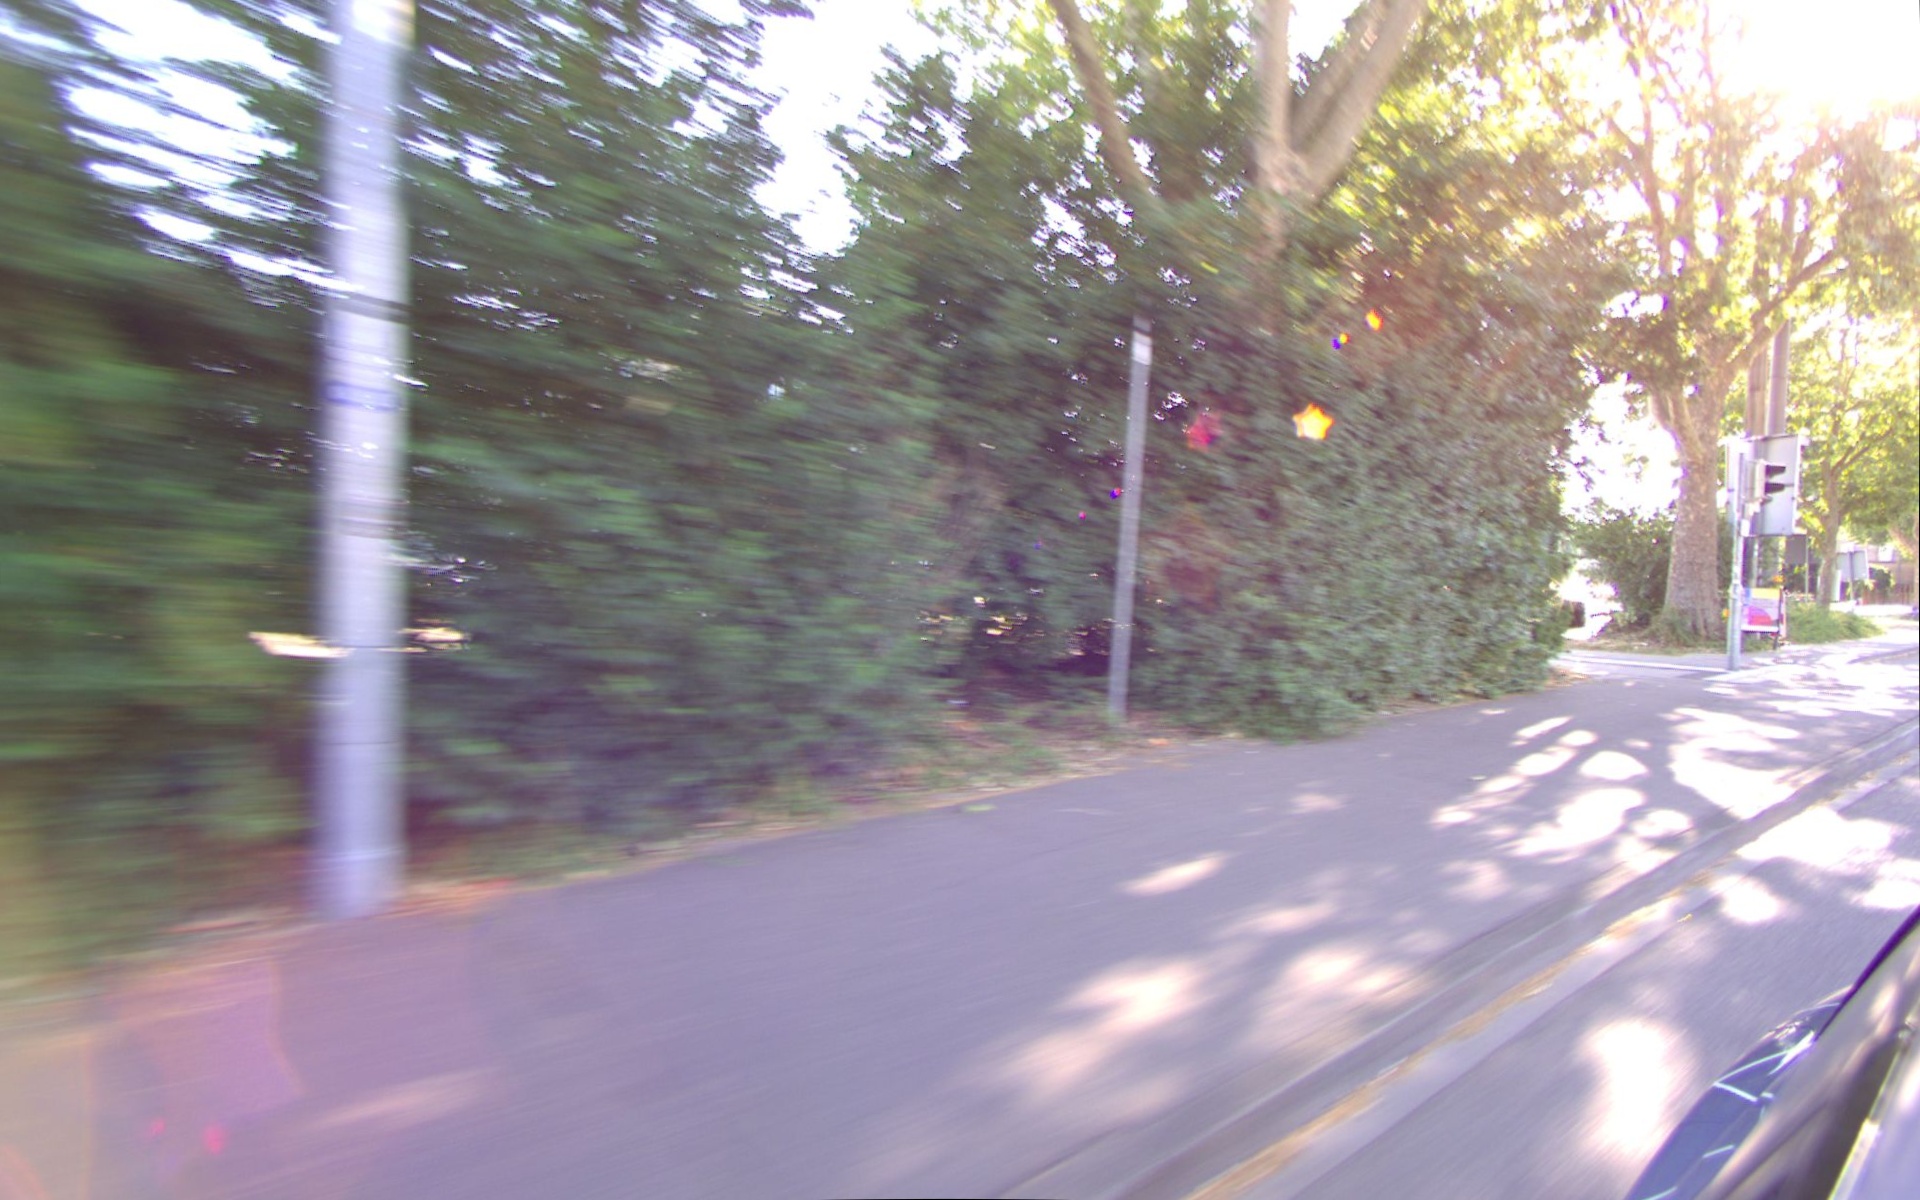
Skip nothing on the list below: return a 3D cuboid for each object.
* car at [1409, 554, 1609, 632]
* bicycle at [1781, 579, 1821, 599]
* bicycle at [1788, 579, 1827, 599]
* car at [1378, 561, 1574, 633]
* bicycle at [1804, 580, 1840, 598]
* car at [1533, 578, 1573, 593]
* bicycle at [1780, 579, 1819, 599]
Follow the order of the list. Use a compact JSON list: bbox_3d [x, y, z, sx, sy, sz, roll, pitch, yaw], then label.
[{"bbox_3d":[13.573,-0.238,25.190,1.801,1.786,3.996,-1,2,-39],"label":"car"},{"bbox_3d":[50.375,-0.661,60.607,1.773,1.134,0.433,4,3,43],"label":"bicycle"},{"bbox_3d":[52.679,-0.696,62.897,0.432,1.134,1.777,0,3,-41],"label":"bicycle"},{"bbox_3d":[11.634,-0.115,22.977,1.648,1.480,3.603,0,2,-39],"label":"car"},{"bbox_3d":[56.503,-0.741,66.342,0.432,1.134,1.691,0,3,-41],"label":"bicycle"},{"bbox_3d":[67.146,-1.644,114.714,1.615,1.583,3.674,0,2,-22],"label":"car"},{"bbox_3d":[51.761,-0.705,62.393,0.432,1.134,1.777,0,3,-41],"label":"bicycle"}]
